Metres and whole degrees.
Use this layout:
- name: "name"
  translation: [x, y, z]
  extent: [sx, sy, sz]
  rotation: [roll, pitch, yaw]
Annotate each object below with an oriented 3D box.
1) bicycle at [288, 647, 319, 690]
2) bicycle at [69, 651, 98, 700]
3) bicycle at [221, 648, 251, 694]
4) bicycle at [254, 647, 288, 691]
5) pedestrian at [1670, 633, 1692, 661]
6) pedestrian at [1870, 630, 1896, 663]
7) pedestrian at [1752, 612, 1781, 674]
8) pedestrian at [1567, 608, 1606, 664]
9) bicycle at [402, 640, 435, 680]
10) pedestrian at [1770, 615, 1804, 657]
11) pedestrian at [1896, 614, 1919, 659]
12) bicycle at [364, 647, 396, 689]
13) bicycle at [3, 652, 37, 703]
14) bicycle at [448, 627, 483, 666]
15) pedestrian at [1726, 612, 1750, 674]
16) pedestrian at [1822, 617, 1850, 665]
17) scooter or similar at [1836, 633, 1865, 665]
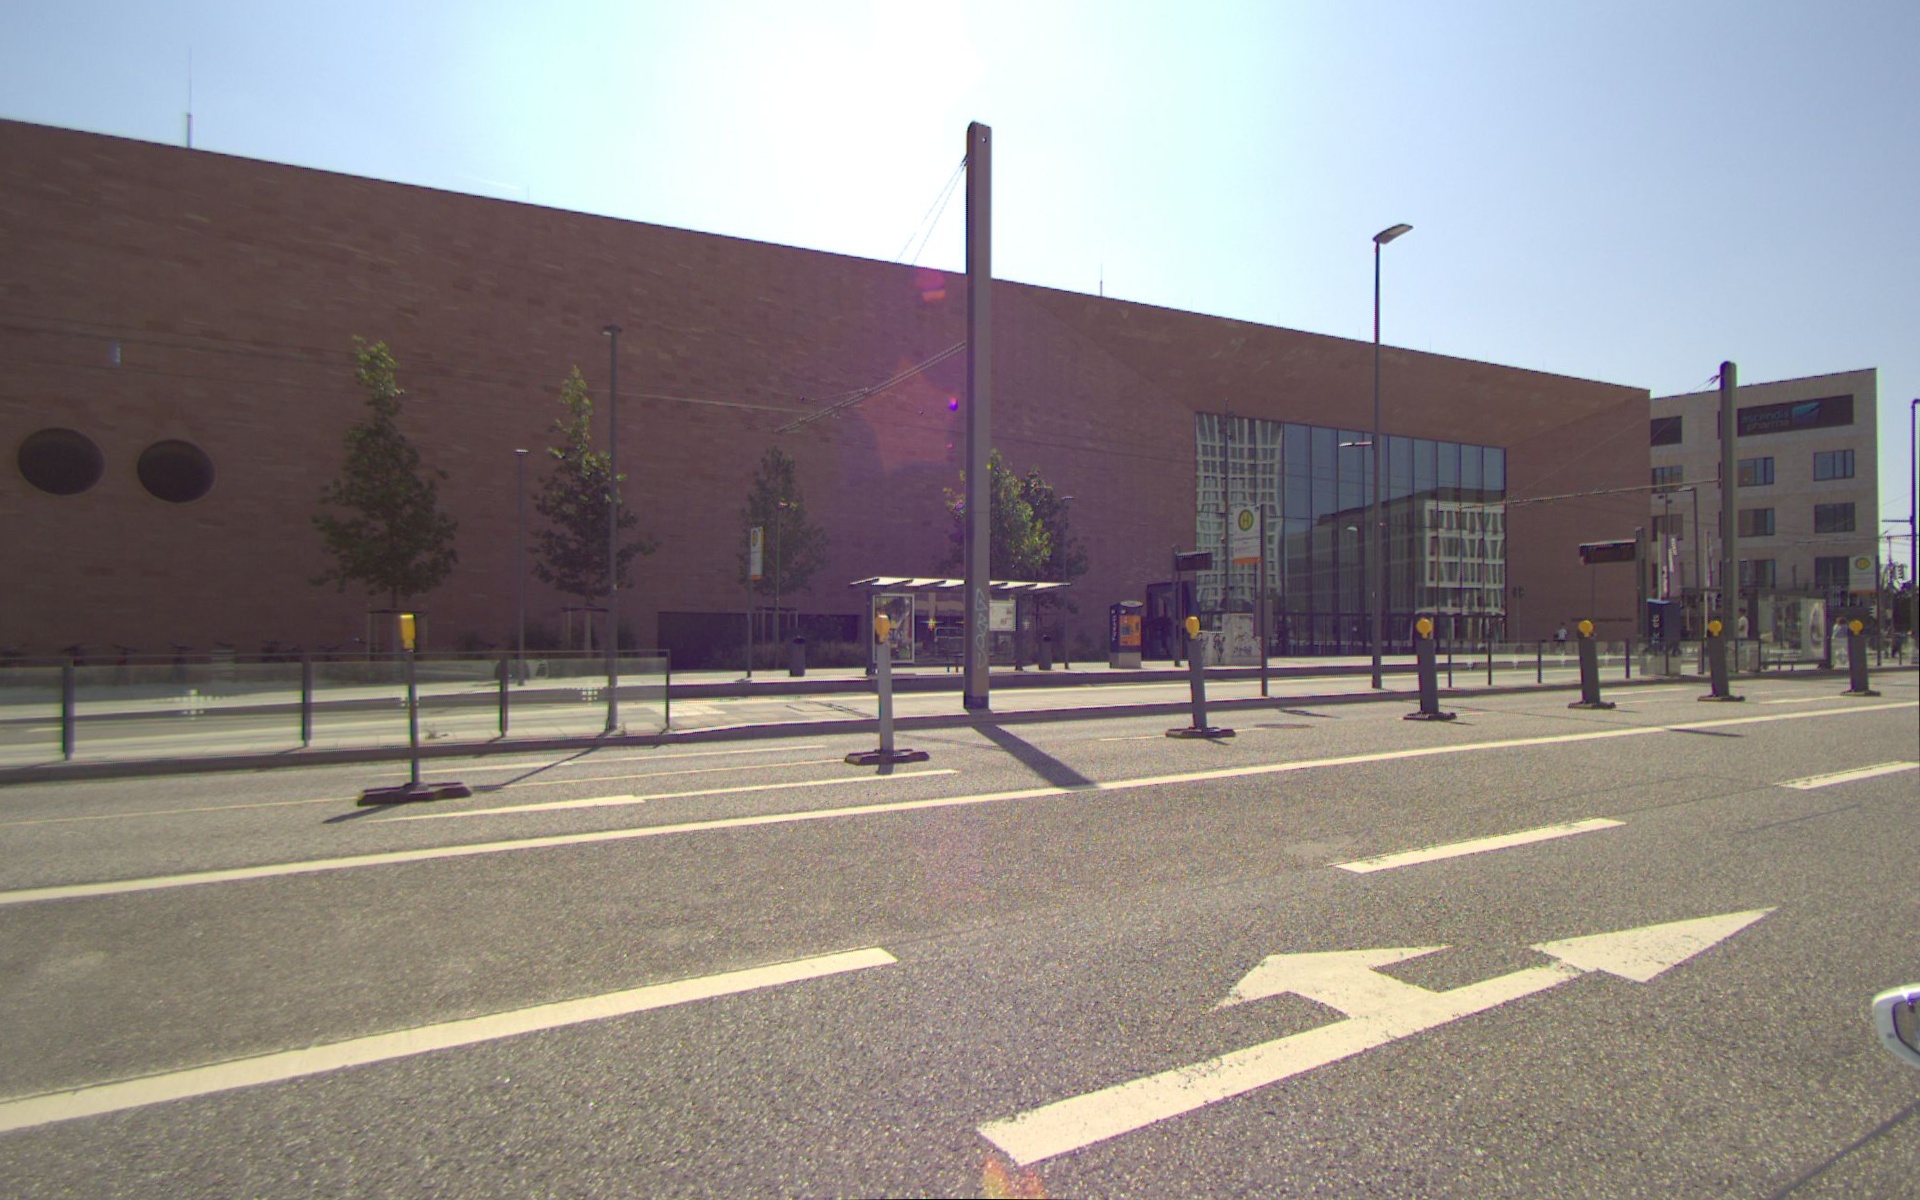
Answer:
- name: "bicycle"
  translation: [-19.585, 2.025, 29.966]
  extent: [0.535, 1.228, 2.034]
  rotation: [0, -2, -40]
- name: "bicycle"
  translation: [-23.427, 1.984, 26.870]
  extent: [0.535, 1.228, 2.034]
  rotation: [0, -2, -40]
- name: "bicycle"
  translation: [-20.544, 2.003, 28.487]
  extent: [0.535, 1.228, 2.034]
  rotation: [0, -2, -40]
- name: "bicycle"
  translation: [-20.210, 1.994, 29.451]
  extent: [0.740, 1.228, 1.870]
  rotation: [1, -2, -36]
- name: "pedestrian"
  translation: [41.636, 2.715, 58.002]
  extent: [0.880, 1.592, 0.707]
  rotation: [0, -2, -31]
- name: "pedestrian"
  translation: [47.921, 2.395, 52.154]
  extent: [0.681, 1.703, 0.672]
  rotation: [-1, -2, 11]
- name: "pedestrian"
  translation: [24.577, 1.299, 30.633]
  extent: [0.654, 1.844, 0.720]
  rotation: [0, -1, 37]
- name: "pedestrian"
  translation: [20.856, 1.186, 33.428]
  extent: [0.815, 1.844, 0.807]
  rotation: [1, -1, -30]
- name: "bicycle"
  translation: [-17.311, 1.900, 32.085]
  extent: [0.535, 1.228, 2.034]
  rotation: [1, -2, -40]
- name: "pedestrian"
  translation: [38.166, 1.655, 46.370]
  extent: [0.817, 1.915, 0.974]
  rotation: [1, -2, -29]
- name: "pedestrian"
  translation: [41.164, 1.564, 43.070]
  extent: [1.046, 1.915, 1.164]
  rotation: [-2, -1, -29]
- name: "bicycle"
  translation: [-18.003, 2.096, 31.154]
  extent: [0.535, 1.228, 2.034]
  rotation: [0, -2, -40]
- name: "bicycle"
  translation: [-24.375, 1.993, 26.066]
  extent: [0.535, 1.228, 2.034]
  rotation: [0, -2, -40]
- name: "bicycle"
  translation: [-16.109, 1.488, 32.707]
  extent: [0.535, 1.228, 2.034]
  rotation: [0, -2, -40]
- name: "pedestrian"
  translation: [23.333, 1.282, 30.128]
  extent: [0.543, 1.844, 0.597]
  rotation: [0, -1, 39]
- name: "pedestrian"
  translation: [30.079, 1.412, 34.494]
  extent: [0.642, 1.643, 0.502]
  rotation: [0, -2, -30]
- name: "scooter or similar"
  translation: [30.873, 1.697, 34.835]
  extent: [0.824, 1.073, 0.502]
  rotation: [0, -2, -30]
